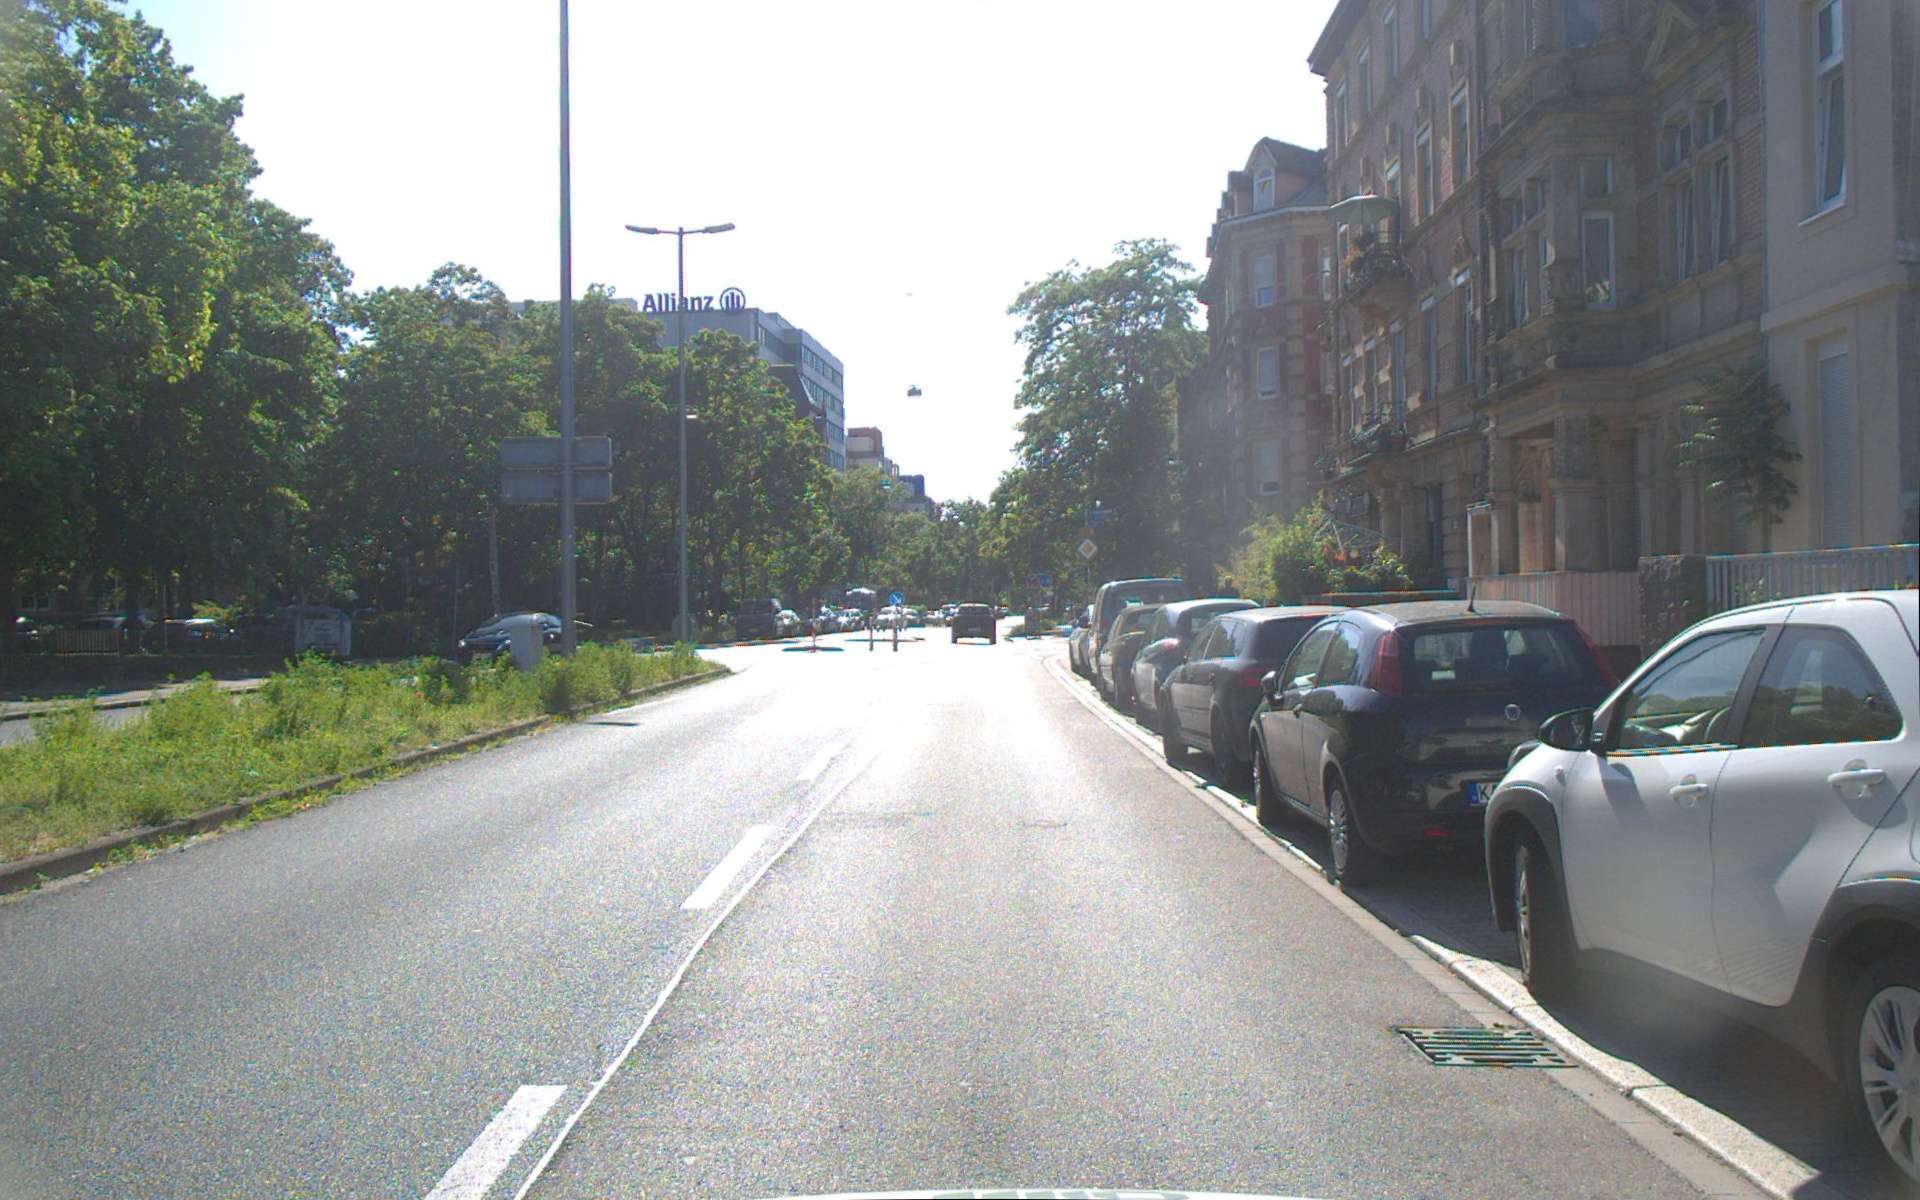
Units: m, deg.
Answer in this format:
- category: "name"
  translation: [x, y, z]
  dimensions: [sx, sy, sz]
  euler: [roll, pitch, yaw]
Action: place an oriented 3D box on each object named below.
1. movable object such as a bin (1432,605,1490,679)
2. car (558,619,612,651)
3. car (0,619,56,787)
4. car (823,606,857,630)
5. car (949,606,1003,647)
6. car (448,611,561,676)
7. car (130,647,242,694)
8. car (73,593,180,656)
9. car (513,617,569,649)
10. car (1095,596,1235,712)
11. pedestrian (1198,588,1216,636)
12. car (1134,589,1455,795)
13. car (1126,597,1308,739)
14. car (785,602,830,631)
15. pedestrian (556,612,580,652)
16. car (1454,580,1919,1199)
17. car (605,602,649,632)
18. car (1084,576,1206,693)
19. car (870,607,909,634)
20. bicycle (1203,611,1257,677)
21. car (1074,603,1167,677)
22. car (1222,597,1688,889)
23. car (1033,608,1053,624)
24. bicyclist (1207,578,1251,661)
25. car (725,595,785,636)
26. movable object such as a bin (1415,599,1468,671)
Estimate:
- category: "movable object such as a bin"
  translation: [8.102, 0.681, 26.755]
  dimensions: [0.743, 1.177, 0.608]
  euler: [0, -3, 1]
- category: "car"
  translation: [-21.441, 1.969, 94.510]
  dimensions: [1.954, 1.691, 3.960]
  euler: [-1, 0, -29]
- category: "car"
  translation: [-9.700, 0.975, 14.192]
  dimensions: [1.605, 1.545, 4.257]
  euler: [-1, 0, -1]
- category: "car"
  translation: [-7.536, 1.138, 104.023]
  dimensions: [1.491, 1.457, 3.340]
  euler: [-1, 0, 7]
- category: "car"
  translation: [0.587, 1.020, 65.199]
  dimensions: [1.857, 1.545, 3.997]
  euler: [1, 0, -3]
- category: "car"
  translation: [-11.656, 1.076, 42.587]
  dimensions: [1.759, 1.545, 4.422]
  euler: [0, 0, -1]
- category: "car"
  translation: [-25.837, 2.390, 55.354]
  dimensions: [1.807, 1.517, 3.999]
  euler: [0, -3, 0]
- category: "car"
  translation: [-34.410, 1.072, 68.437]
  dimensions: [1.807, 2.365, 4.984]
  euler: [0, -4, 1]
- category: "car"
  translation: [-23.067, 1.778, 91.024]
  dimensions: [1.955, 1.691, 3.958]
  euler: [-1, 0, -31]
- category: "car"
  translation: [2.894, 0.713, 24.100]
  dimensions: [1.633, 1.493, 4.275]
  euler: [-1, 0, 2]
- category: "pedestrian"
  translation: [9.754, 0.492, 65.256]
  dimensions: [0.642, 1.848, 0.752]
  euler: [0, -3, 5]
- category: "car"
  translation: [2.844, 0.710, 15.114]
  dimensions: [1.896, 1.545, 4.482]
  euler: [-1, 0, -1]
- category: "car"
  translation: [2.992, 0.741, 19.831]
  dimensions: [1.589, 1.496, 3.298]
  euler: [-2, 0, -1]
- category: "car"
  translation: [-8.620, 0.929, 93.767]
  dimensions: [1.721, 1.545, 3.862]
  euler: [-1, 0, 7]
- category: "pedestrian"
  translation: [-16.647, 1.352, 70.201]
  dimensions: [0.656, 1.655, 0.713]
  euler: [-1, 0, 33]
- category: "car"
  translation: [3.074, 0.715, 5.373]
  dimensions: [1.635, 1.545, 3.658]
  euler: [-1, 0, -4]
- category: "car"
  translation: [-19.375, 0.970, 96.062]
  dimensions: [1.946, 1.691, 3.976]
  euler: [-1, 0, -20]
- category: "car"
  translation: [3.205, 0.563, 29.351]
  dimensions: [1.781, 1.876, 4.365]
  euler: [-1, 0, 2]
- category: "car"
  translation: [-4.386, 1.265, 103.400]
  dimensions: [1.721, 1.545, 3.862]
  euler: [-2, 0, 7]
- category: "bicycle"
  translation: [5.364, 0.858, 32.968]
  dimensions: [0.725, 1.240, 1.960]
  euler: [-3, 0, 1]
- category: "car"
  translation: [3.311, 0.794, 34.740]
  dimensions: [1.674, 1.450, 4.206]
  euler: [0, 0, 2]
- category: "car"
  translation: [2.788, 0.715, 10.190]
  dimensions: [1.634, 1.418, 3.774]
  euler: [-1, 0, -1]
- category: "car"
  translation: [8.836, 1.692, 175.820]
  dimensions: [1.880, 1.668, 4.003]
  euler: [-1, 0, 5]
- category: "bicyclist"
  translation: [5.345, 0.378, 32.887]
  dimensions: [0.726, 1.608, 1.100]
  euler: [0, 1, 1]
- category: "car"
  translation: [-10.222, 0.760, 82.778]
  dimensions: [2.153, 1.963, 4.863]
  euler: [-1, 0, 2]
- category: "movable object such as a bin"
  translation: [8.076, 0.593, 27.754]
  dimensions: [0.707, 1.177, 0.608]
  euler: [0, -3, 1]
